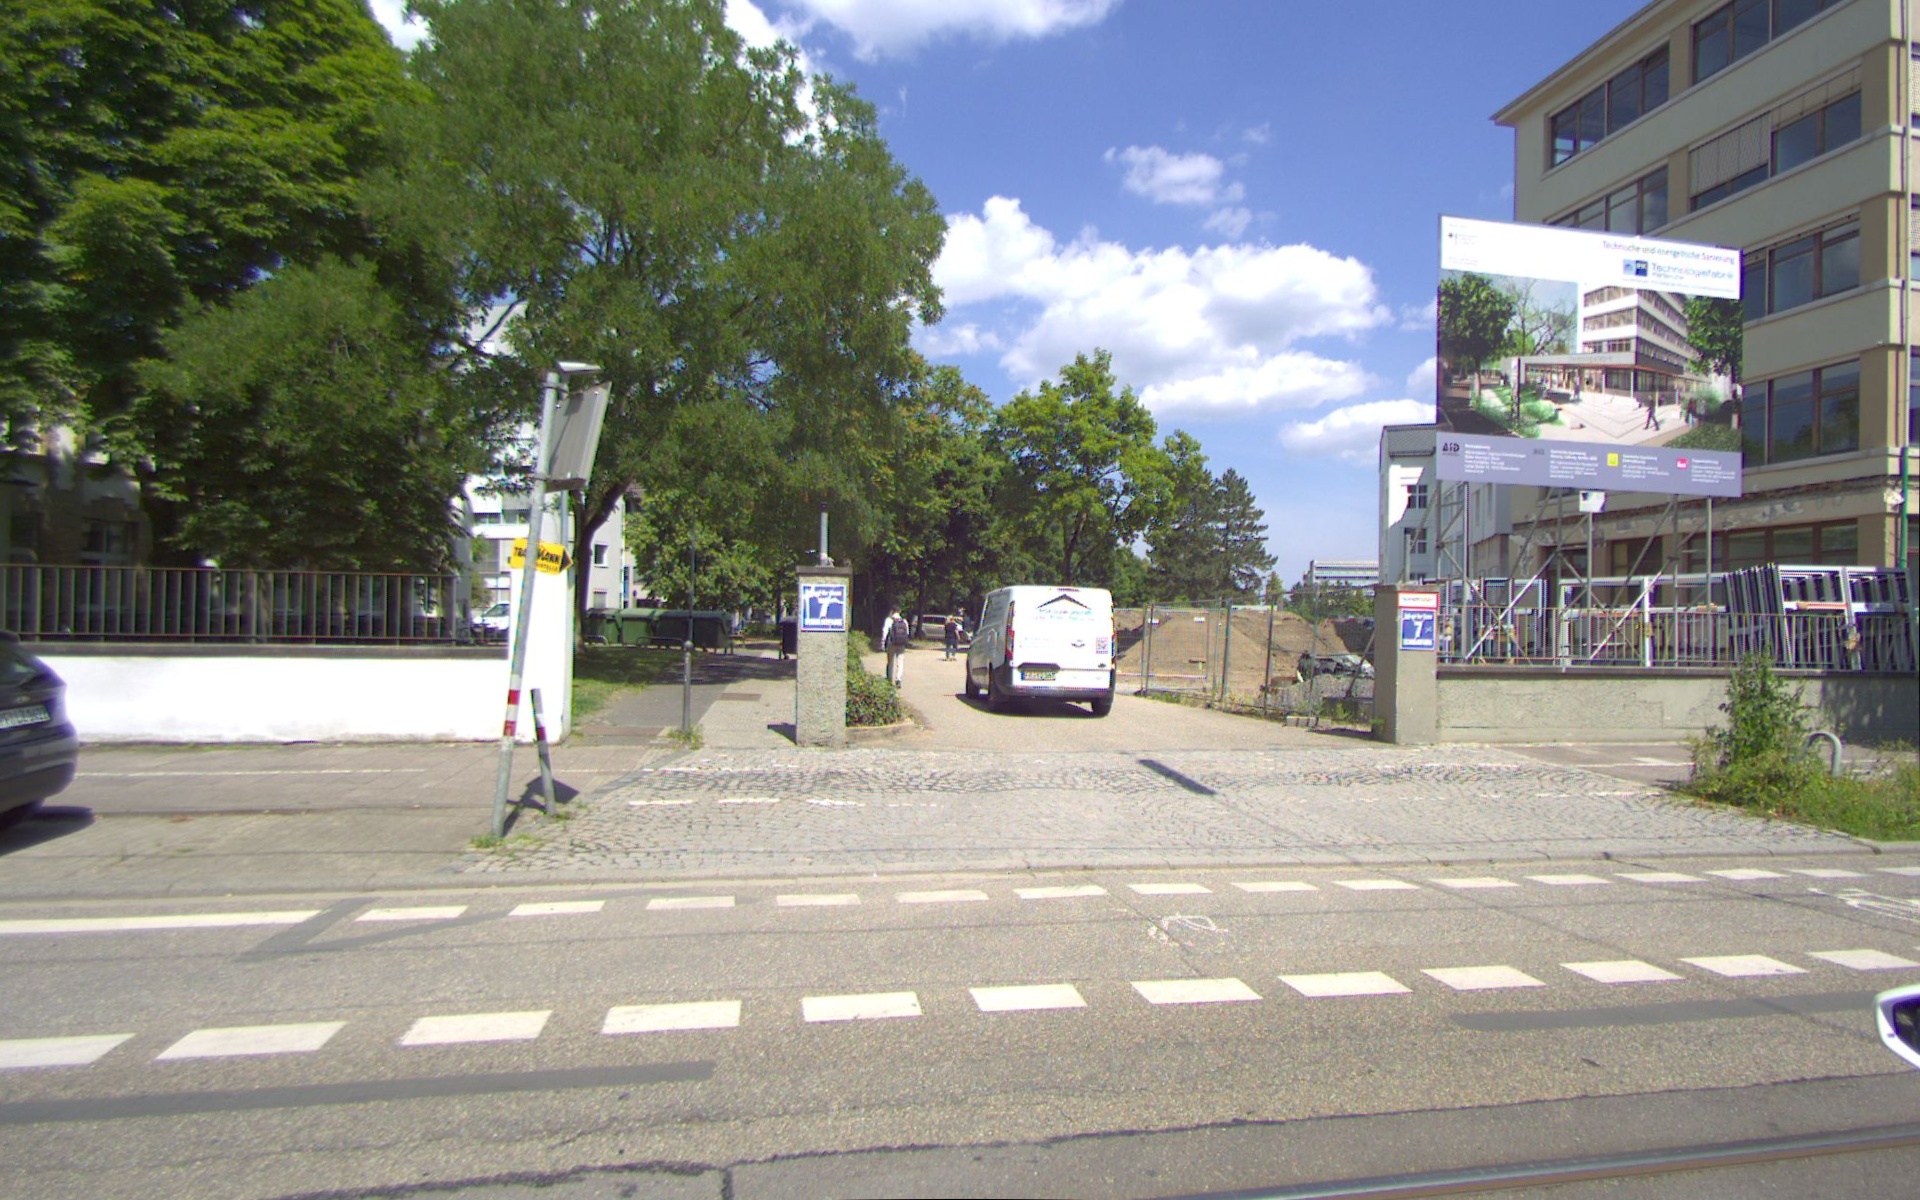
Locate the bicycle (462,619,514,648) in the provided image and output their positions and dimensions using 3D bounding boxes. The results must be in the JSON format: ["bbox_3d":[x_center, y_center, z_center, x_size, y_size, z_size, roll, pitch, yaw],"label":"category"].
[{"bbox_3d":[-16.754,1.198,35.662,1.695,0.971,0.614,1,-1,19],"label":"bicycle"}]

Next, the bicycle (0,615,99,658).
[{"bbox_3d":[-20.677,0.814,22.628,2.214,0.902,0.656,2,-1,9],"label":"bicycle"}]

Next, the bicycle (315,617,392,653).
[{"bbox_3d":[-18.567,1.071,30.749,2.214,1.024,0.608,1,-1,13],"label":"bicycle"}]

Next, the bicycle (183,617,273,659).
[{"bbox_3d":[-19.327,1.003,26.518,2.214,1.024,0.608,1,-1,13],"label":"bicycle"}]

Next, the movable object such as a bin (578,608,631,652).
[{"bbox_3d":[-12.515,1.038,35.428,1.382,1.499,1.048,1,-1,17],"label":"movable object such as a bin"}]

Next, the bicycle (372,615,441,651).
[{"bbox_3d":[-18.029,1.054,32.736,2.215,1.096,0.607,1,-1,19],"label":"bicycle"}]

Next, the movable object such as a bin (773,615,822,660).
[{"bbox_3d":[-5.304,1.211,32.803,1.143,1.412,1.111,1,-1,40],"label":"movable object such as a bin"}]

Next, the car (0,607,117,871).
[{"bbox_3d":[-7.403,0.784,5.695,3.663,1.476,1.584,1,1,-15],"label":"car"}]

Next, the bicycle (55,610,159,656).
[{"bbox_3d":[-20.451,0.780,24.080,2.214,1.024,0.570,2,-1,9],"label":"bicycle"}]

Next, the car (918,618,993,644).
[{"bbox_3d":[-0.282,1.991,64.624,4.430,1.552,1.726,1,-1,17],"label":"car"}]

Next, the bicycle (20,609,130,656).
[{"bbox_3d":[-20.669,0.758,23.463,2.214,1.025,0.633,2,-1,9],"label":"bicycle"}]

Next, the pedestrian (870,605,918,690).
[{"bbox_3d":[-1.402,0.985,21.216,0.861,1.752,1.078,1,0,-10],"label":"pedestrian"}]

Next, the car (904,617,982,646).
[{"bbox_3d":[-1.043,1.943,62.204,4.430,1.630,2.001,1,-3,18],"label":"car"}]

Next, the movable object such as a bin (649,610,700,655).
[{"bbox_3d":[-9.817,1.095,34.533,1.332,1.499,1.097,1,-1,6],"label":"movable object such as a bin"}]

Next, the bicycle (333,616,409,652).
[{"bbox_3d":[-18.401,1.055,31.386,2.214,1.024,0.608,1,-1,13],"label":"bicycle"}]

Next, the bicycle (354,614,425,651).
[{"bbox_3d":[-18.257,1.035,32.134,2.215,1.096,0.607,1,-1,19],"label":"bicycle"}]

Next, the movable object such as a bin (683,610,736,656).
[{"bbox_3d":[-8.488,1.125,34.134,1.298,1.499,1.208,1,-1,14],"label":"movable object such as a bin"}]

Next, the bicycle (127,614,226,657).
[{"bbox_3d":[-19.901,0.895,25.533,2.214,1.024,0.608,2,-1,9],"label":"bicycle"}]

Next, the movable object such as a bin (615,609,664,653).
[{"bbox_3d":[-11.140,1.067,34.923,1.237,1.499,1.048,1,-1,17],"label":"movable object such as a bin"}]

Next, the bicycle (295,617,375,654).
[{"bbox_3d":[-18.725,1.050,30.098,2.214,1.024,0.608,1,-1,13],"label":"bicycle"}]

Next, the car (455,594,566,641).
[{"bbox_3d":[-20.459,0.818,45.998,1.960,2.040,4.777,0,-2,17],"label":"car"}]

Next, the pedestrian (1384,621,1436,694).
[{"bbox_3d":[11.749,1.480,26.261,0.949,1.843,0.870,1,-1,-1],"label":"pedestrian"}]

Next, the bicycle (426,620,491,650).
[{"bbox_3d":[-17.369,1.196,34.774,2.215,0.971,0.607,1,-1,19],"label":"bicycle"}]

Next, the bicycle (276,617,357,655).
[{"bbox_3d":[-18.886,1.055,29.467,2.214,1.024,0.608,1,-1,13],"label":"bicycle"}]

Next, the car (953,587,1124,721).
[{"bbox_3d":[1.172,0.852,17.292,1.943,1.973,4.575,1,-1,-8],"label":"car"}]

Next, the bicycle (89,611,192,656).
[{"bbox_3d":[-20.149,0.827,24.697,2.214,1.024,0.608,2,-1,9],"label":"bicycle"}]

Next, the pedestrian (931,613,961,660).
[{"bbox_3d":[-0.510,1.317,36.600,1.018,1.672,1.049,1,0,-1],"label":"pedestrian"}]

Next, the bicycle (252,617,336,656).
[{"bbox_3d":[-19.067,1.039,28.757,2.214,1.024,0.608,1,-1,13],"label":"bicycle"}]
